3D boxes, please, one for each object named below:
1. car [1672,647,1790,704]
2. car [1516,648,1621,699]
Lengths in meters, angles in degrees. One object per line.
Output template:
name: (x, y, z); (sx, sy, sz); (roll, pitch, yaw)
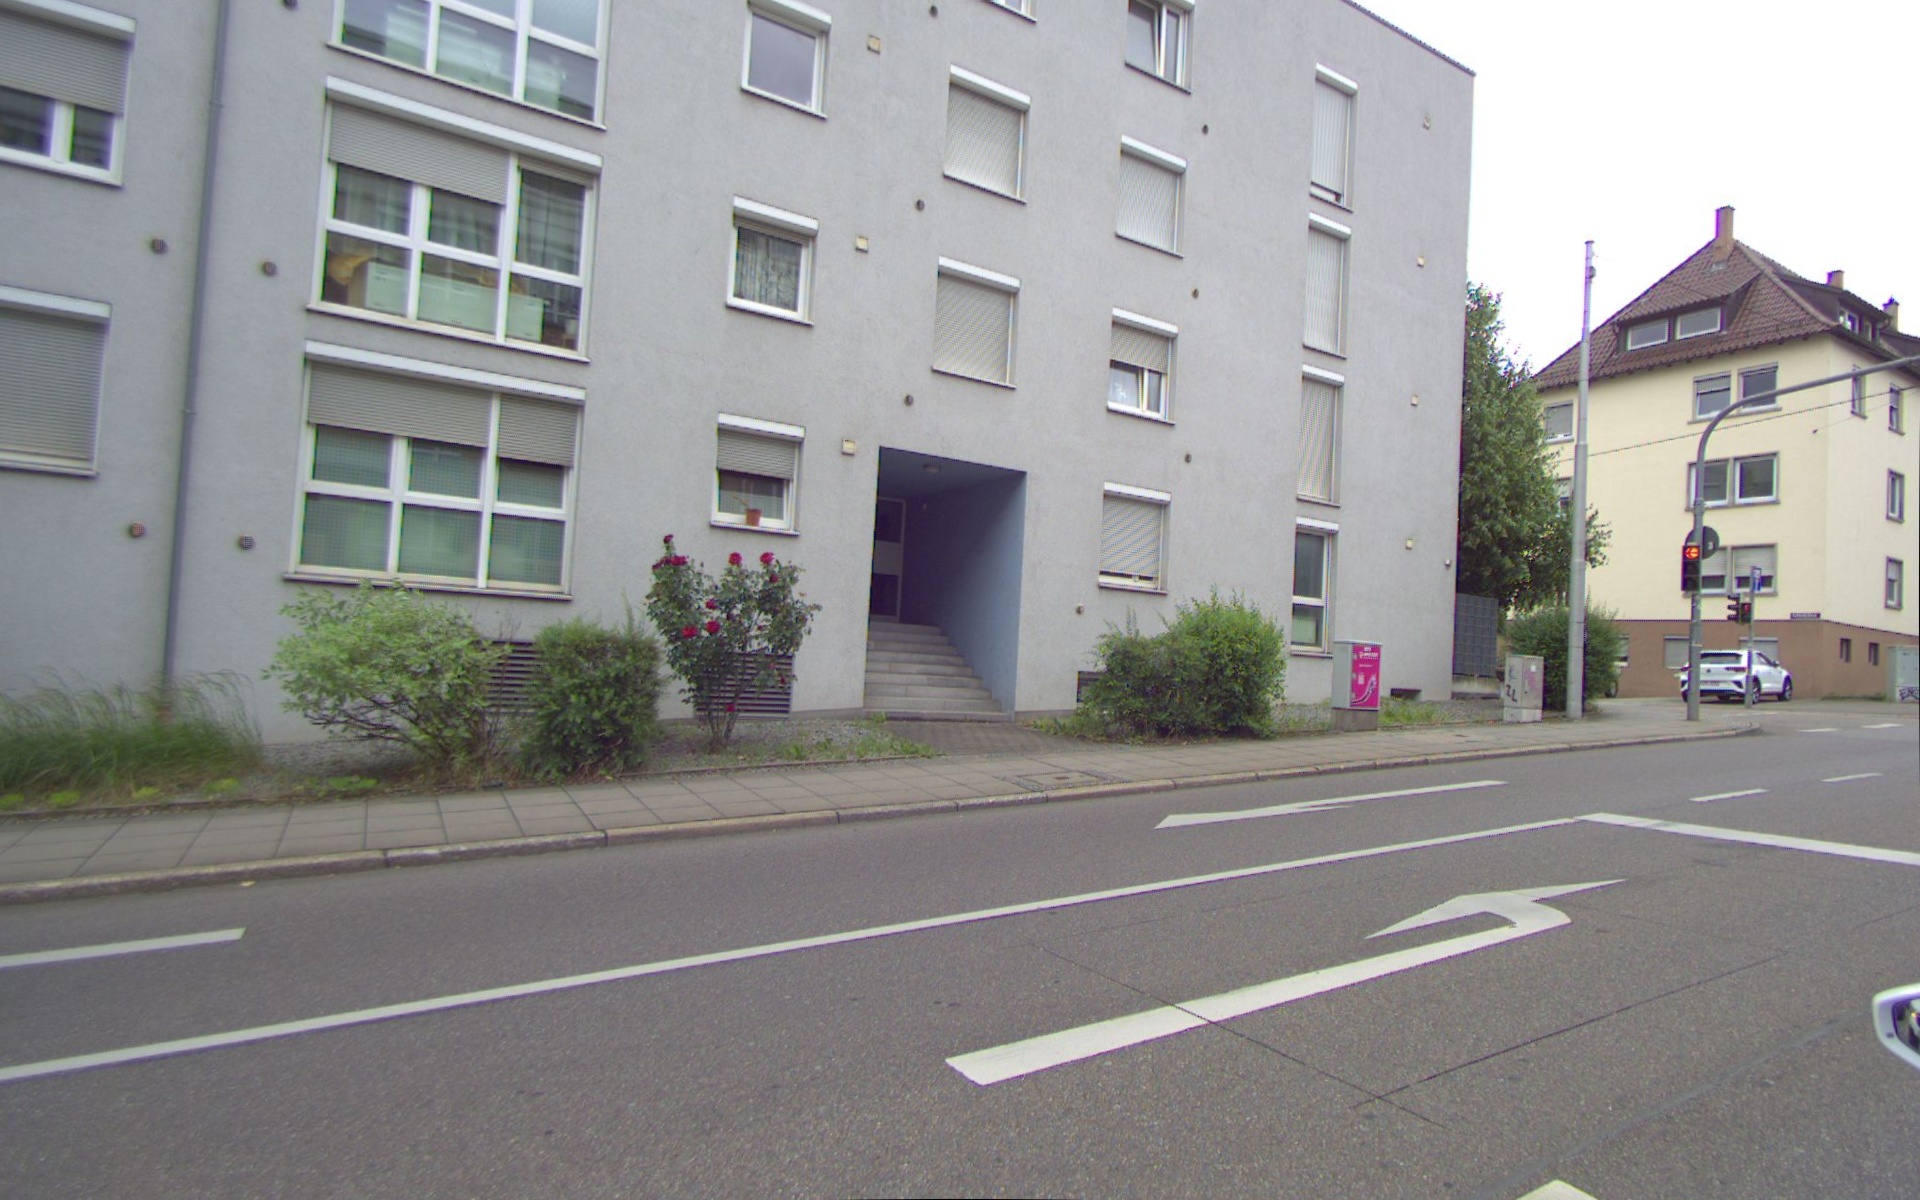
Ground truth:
car: (23.050, 2.204, 30.001); (3.727, 1.575, 1.681); (1, -4, -34)
car: (20.937, 2.492, 34.536); (3.727, 1.629, 1.681); (1, -4, -34)
